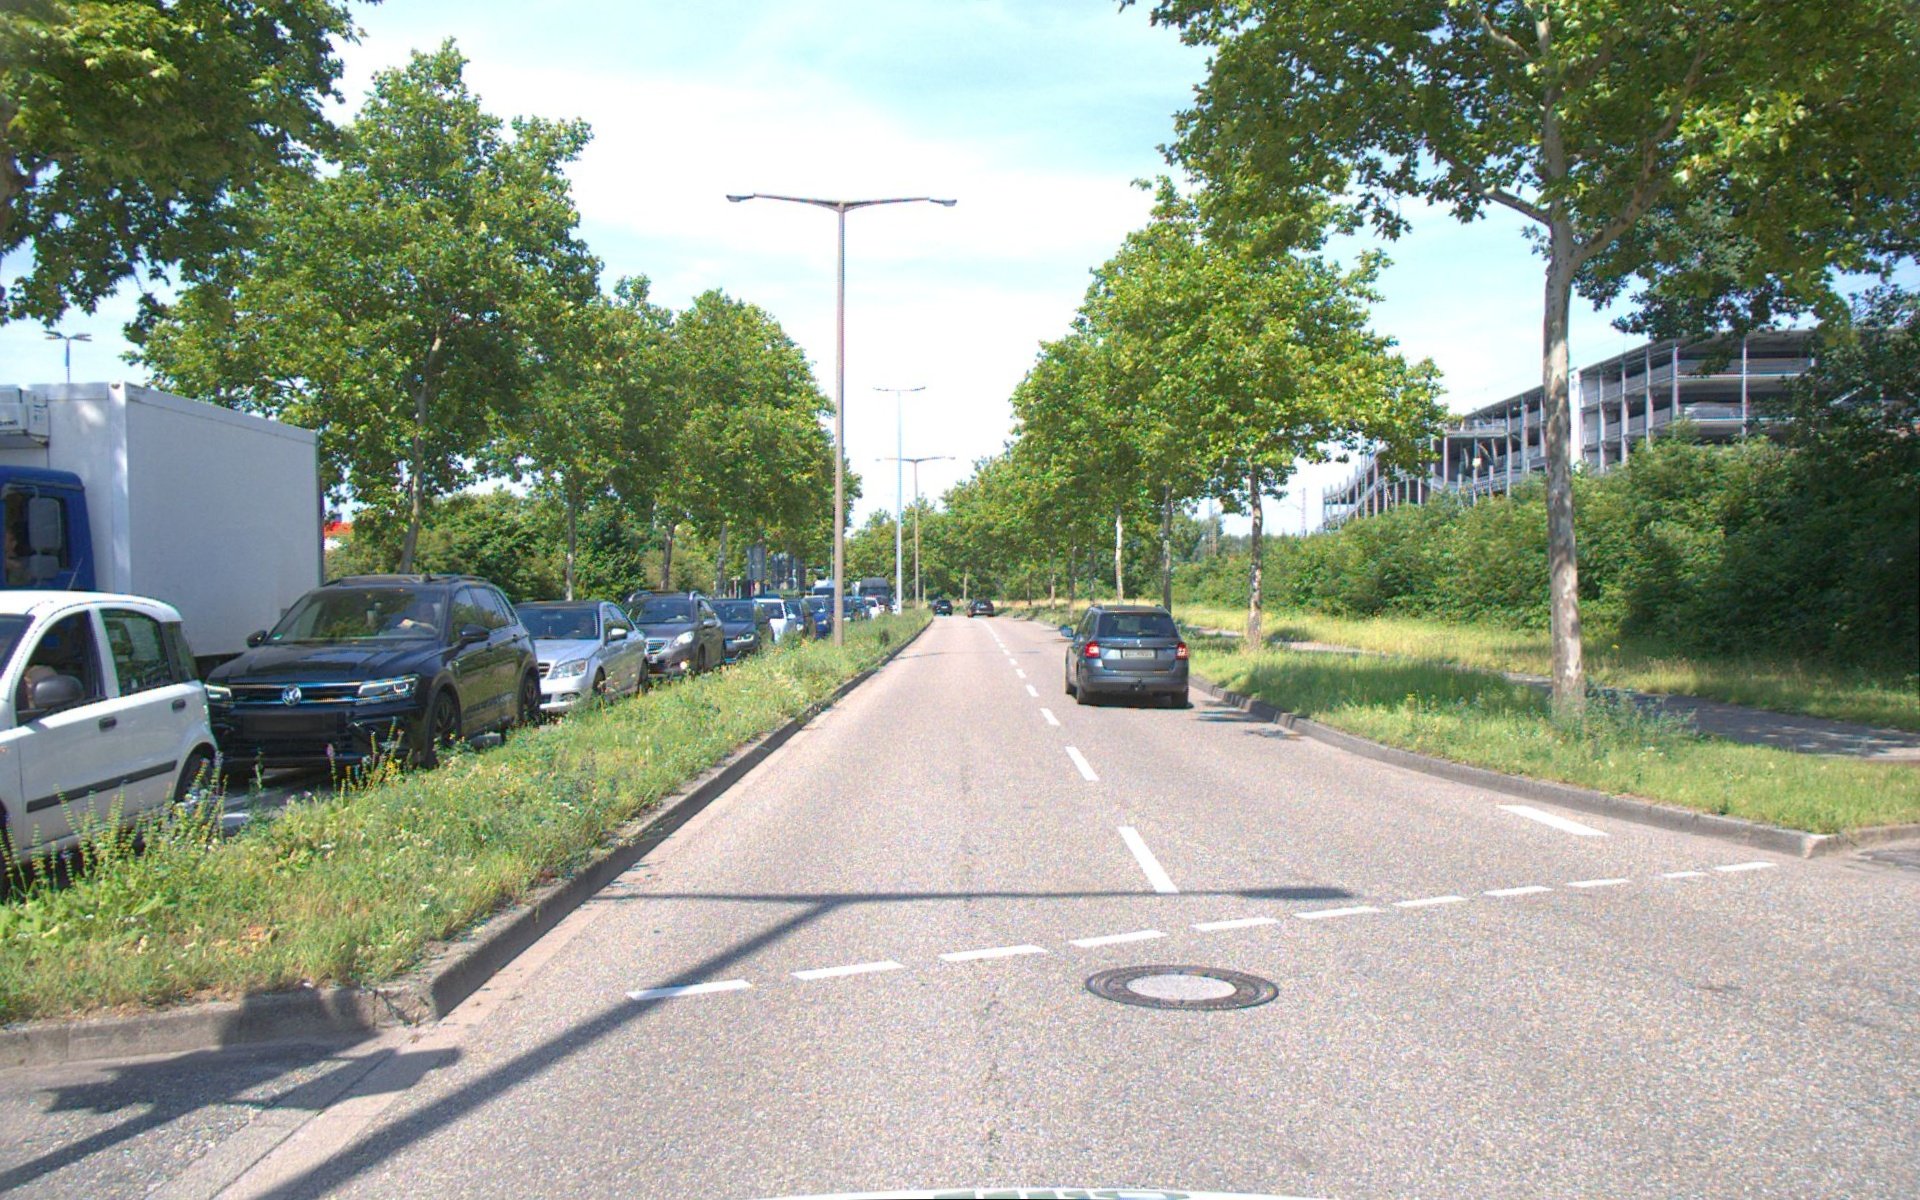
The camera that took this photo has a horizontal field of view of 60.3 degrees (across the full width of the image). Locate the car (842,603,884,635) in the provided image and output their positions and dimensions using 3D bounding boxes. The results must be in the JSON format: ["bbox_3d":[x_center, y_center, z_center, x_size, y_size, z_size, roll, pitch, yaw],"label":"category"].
[{"bbox_3d":[-4.727,0.905,80.953,1.747,1.484,4.472,0,0,0],"label":"car"}]

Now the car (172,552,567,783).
[{"bbox_3d":[-4.913,0.540,14.547,1.783,1.675,4.693,-1,-1,0],"label":"car"}]

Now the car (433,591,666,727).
[{"bbox_3d":[-4.998,0.664,20.788,1.760,1.493,4.523,-1,0,0],"label":"car"}]

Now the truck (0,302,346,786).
[{"bbox_3d":[-8.354,-0.392,15.326,2.746,3.532,6.691,-2,0,0],"label":"truck"}]

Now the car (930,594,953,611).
[{"bbox_3d":[-1.733,0.220,151.123,1.870,1.488,4.579,1,1,-3],"label":"car"}]

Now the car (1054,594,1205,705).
[{"bbox_3d":[2.503,0.697,25.304,1.641,1.478,4.033,3,0,-3],"label":"car"}]

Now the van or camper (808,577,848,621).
[{"bbox_3d":[-8.097,-0.047,102.084,1.974,2.633,5.517,-1,0,0],"label":"van or camper"}]

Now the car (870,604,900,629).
[{"bbox_3d":[-4.708,1.049,104.052,1.654,1.557,3.814,-1,-1,0],"label":"car"}]

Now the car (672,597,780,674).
[{"bbox_3d":[-4.917,0.711,35.182,1.654,1.499,4.218,-2,0,0],"label":"car"}]

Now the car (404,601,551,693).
[{"bbox_3d":[-8.516,0.785,29.470,1.533,1.478,3.544,-2,0,0],"label":"car"}]

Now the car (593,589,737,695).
[{"bbox_3d":[-4.876,0.657,27.858,1.654,1.614,4.240,-1,0,0],"label":"car"}]

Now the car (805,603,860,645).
[{"bbox_3d":[-4.748,0.856,62.099,1.786,1.491,4.449,-1,0,-1],"label":"car"}]

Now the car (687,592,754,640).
[{"bbox_3d":[-8.074,0.532,55.969,1.654,1.557,3.939,-1,0,0],"label":"car"}]

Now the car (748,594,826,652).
[{"bbox_3d":[-4.973,0.639,48.021,1.722,1.557,4.827,-1,0,0],"label":"car"}]

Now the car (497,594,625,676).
[{"bbox_3d":[-8.156,0.679,34.141,1.654,1.557,4.083,-2,0,-1],"label":"car"}]

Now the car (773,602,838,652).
[{"bbox_3d":[-4.945,0.834,53.428,1.748,1.515,4.210,-1,0,-1],"label":"car"}]

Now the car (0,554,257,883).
[{"bbox_3d":[-5.173,0.553,8.433,1.560,1.503,3.729,-1,0,0],"label":"car"}]

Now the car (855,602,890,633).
[{"bbox_3d":[-4.606,0.904,87.387,1.654,1.537,3.814,-1,0,0],"label":"car"}]

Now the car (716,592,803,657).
[{"bbox_3d":[-4.891,0.571,40.734,1.654,1.497,3.814,-1,0,0],"label":"car"}]

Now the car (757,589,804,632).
[{"bbox_3d":[-8.069,0.479,74.629,1.654,1.891,4.036,-1,-1,0],"label":"car"}]

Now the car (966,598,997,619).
[{"bbox_3d":[1.609,0.612,124.398,1.871,1.488,4.616,1,1,-5],"label":"car"}]
